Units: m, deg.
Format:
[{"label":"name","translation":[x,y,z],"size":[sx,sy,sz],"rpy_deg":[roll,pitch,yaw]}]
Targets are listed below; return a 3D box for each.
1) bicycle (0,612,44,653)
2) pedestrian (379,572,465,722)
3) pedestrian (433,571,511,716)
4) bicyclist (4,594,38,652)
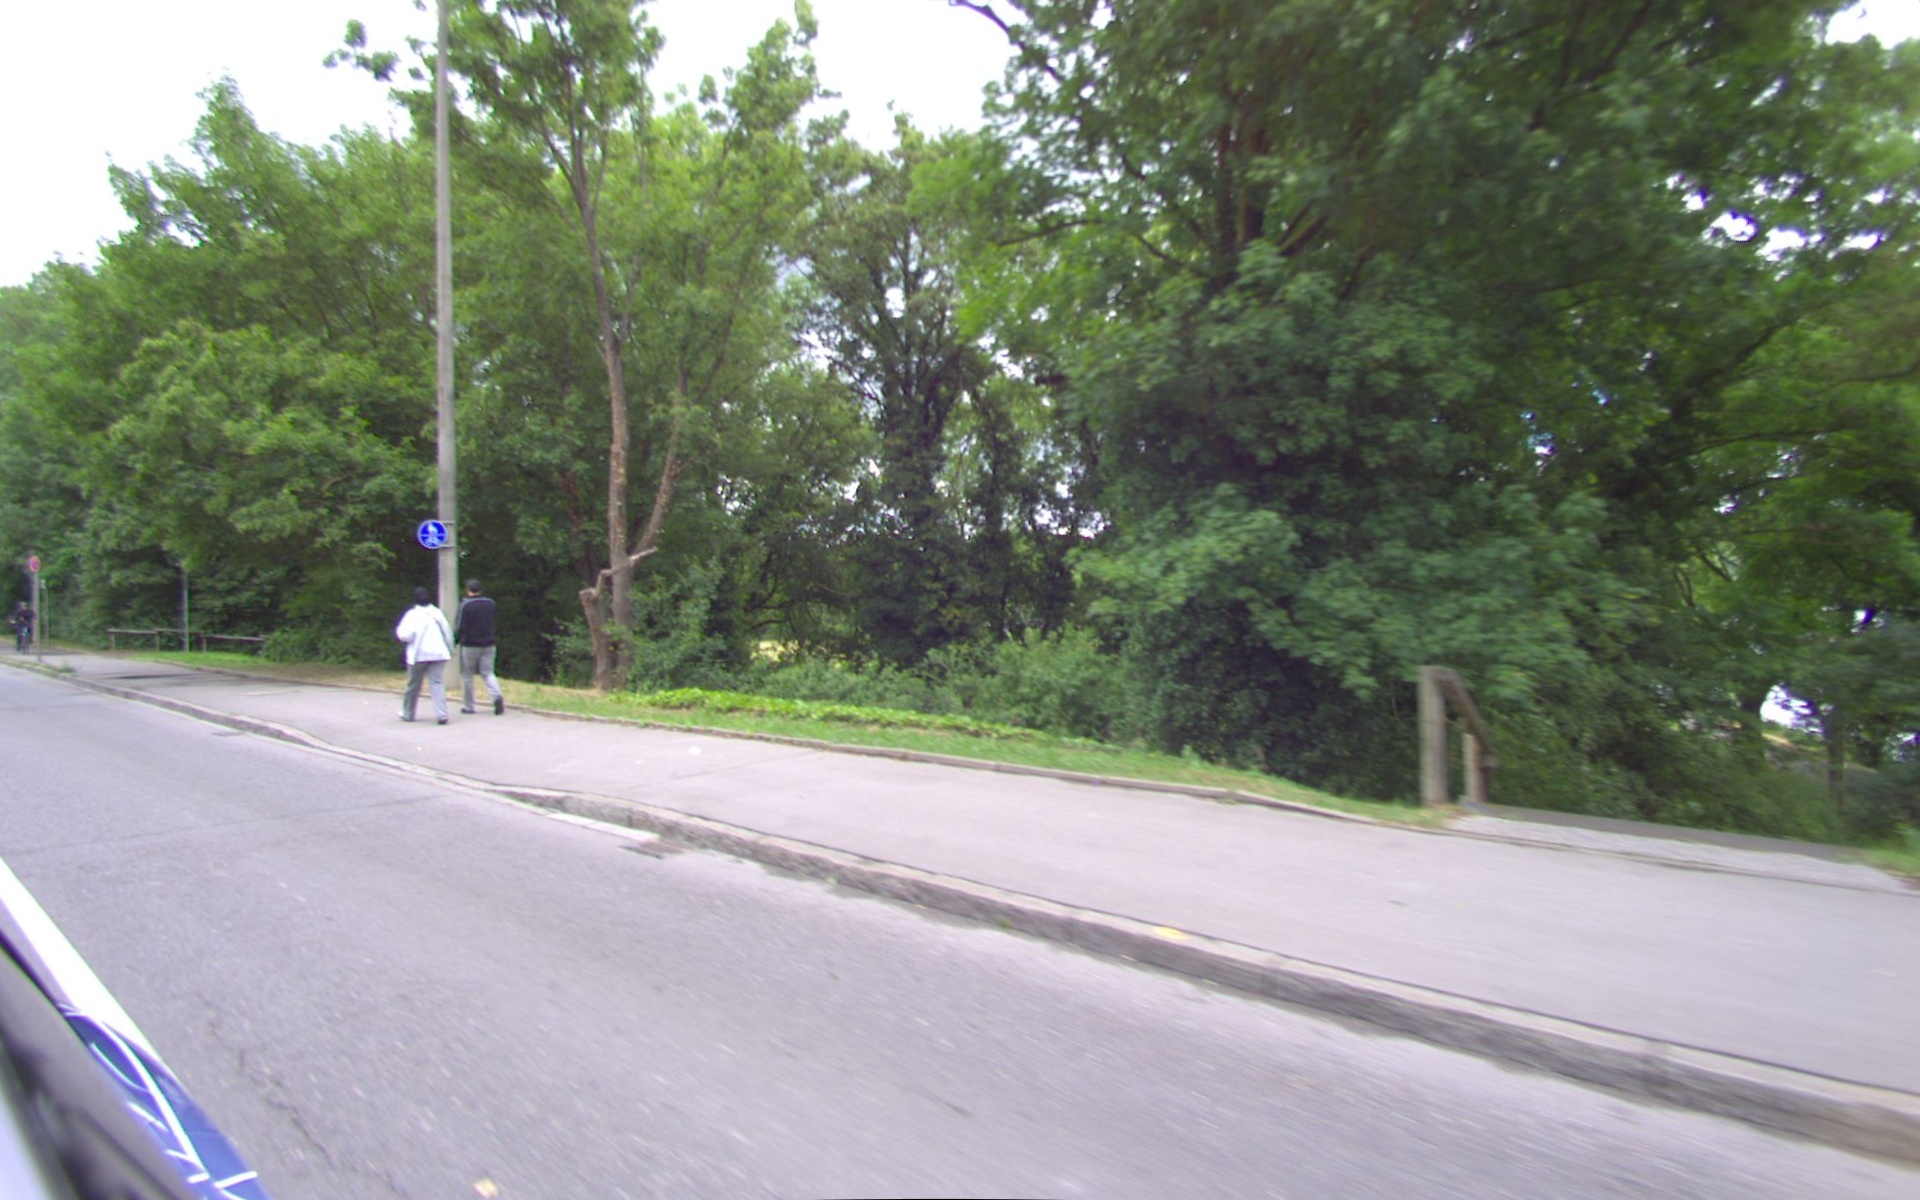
[{"label":"bicycle","translation":[-32.441,1.116,34.999],"size":[2.276,1.341,0.692],"rpy_deg":[0,1,37]},{"label":"pedestrian","translation":[-6.719,0.565,12.640],"size":[0.857,1.778,0.546],"rpy_deg":[-1,3,40]},{"label":"pedestrian","translation":[-6.356,0.542,13.178],"size":[0.821,1.817,0.581],"rpy_deg":[-1,1,40]},{"label":"bicyclist","translation":[-32.534,0.782,35.062],"size":[0.834,1.962,0.680],"rpy_deg":[-1,0,37]}]
